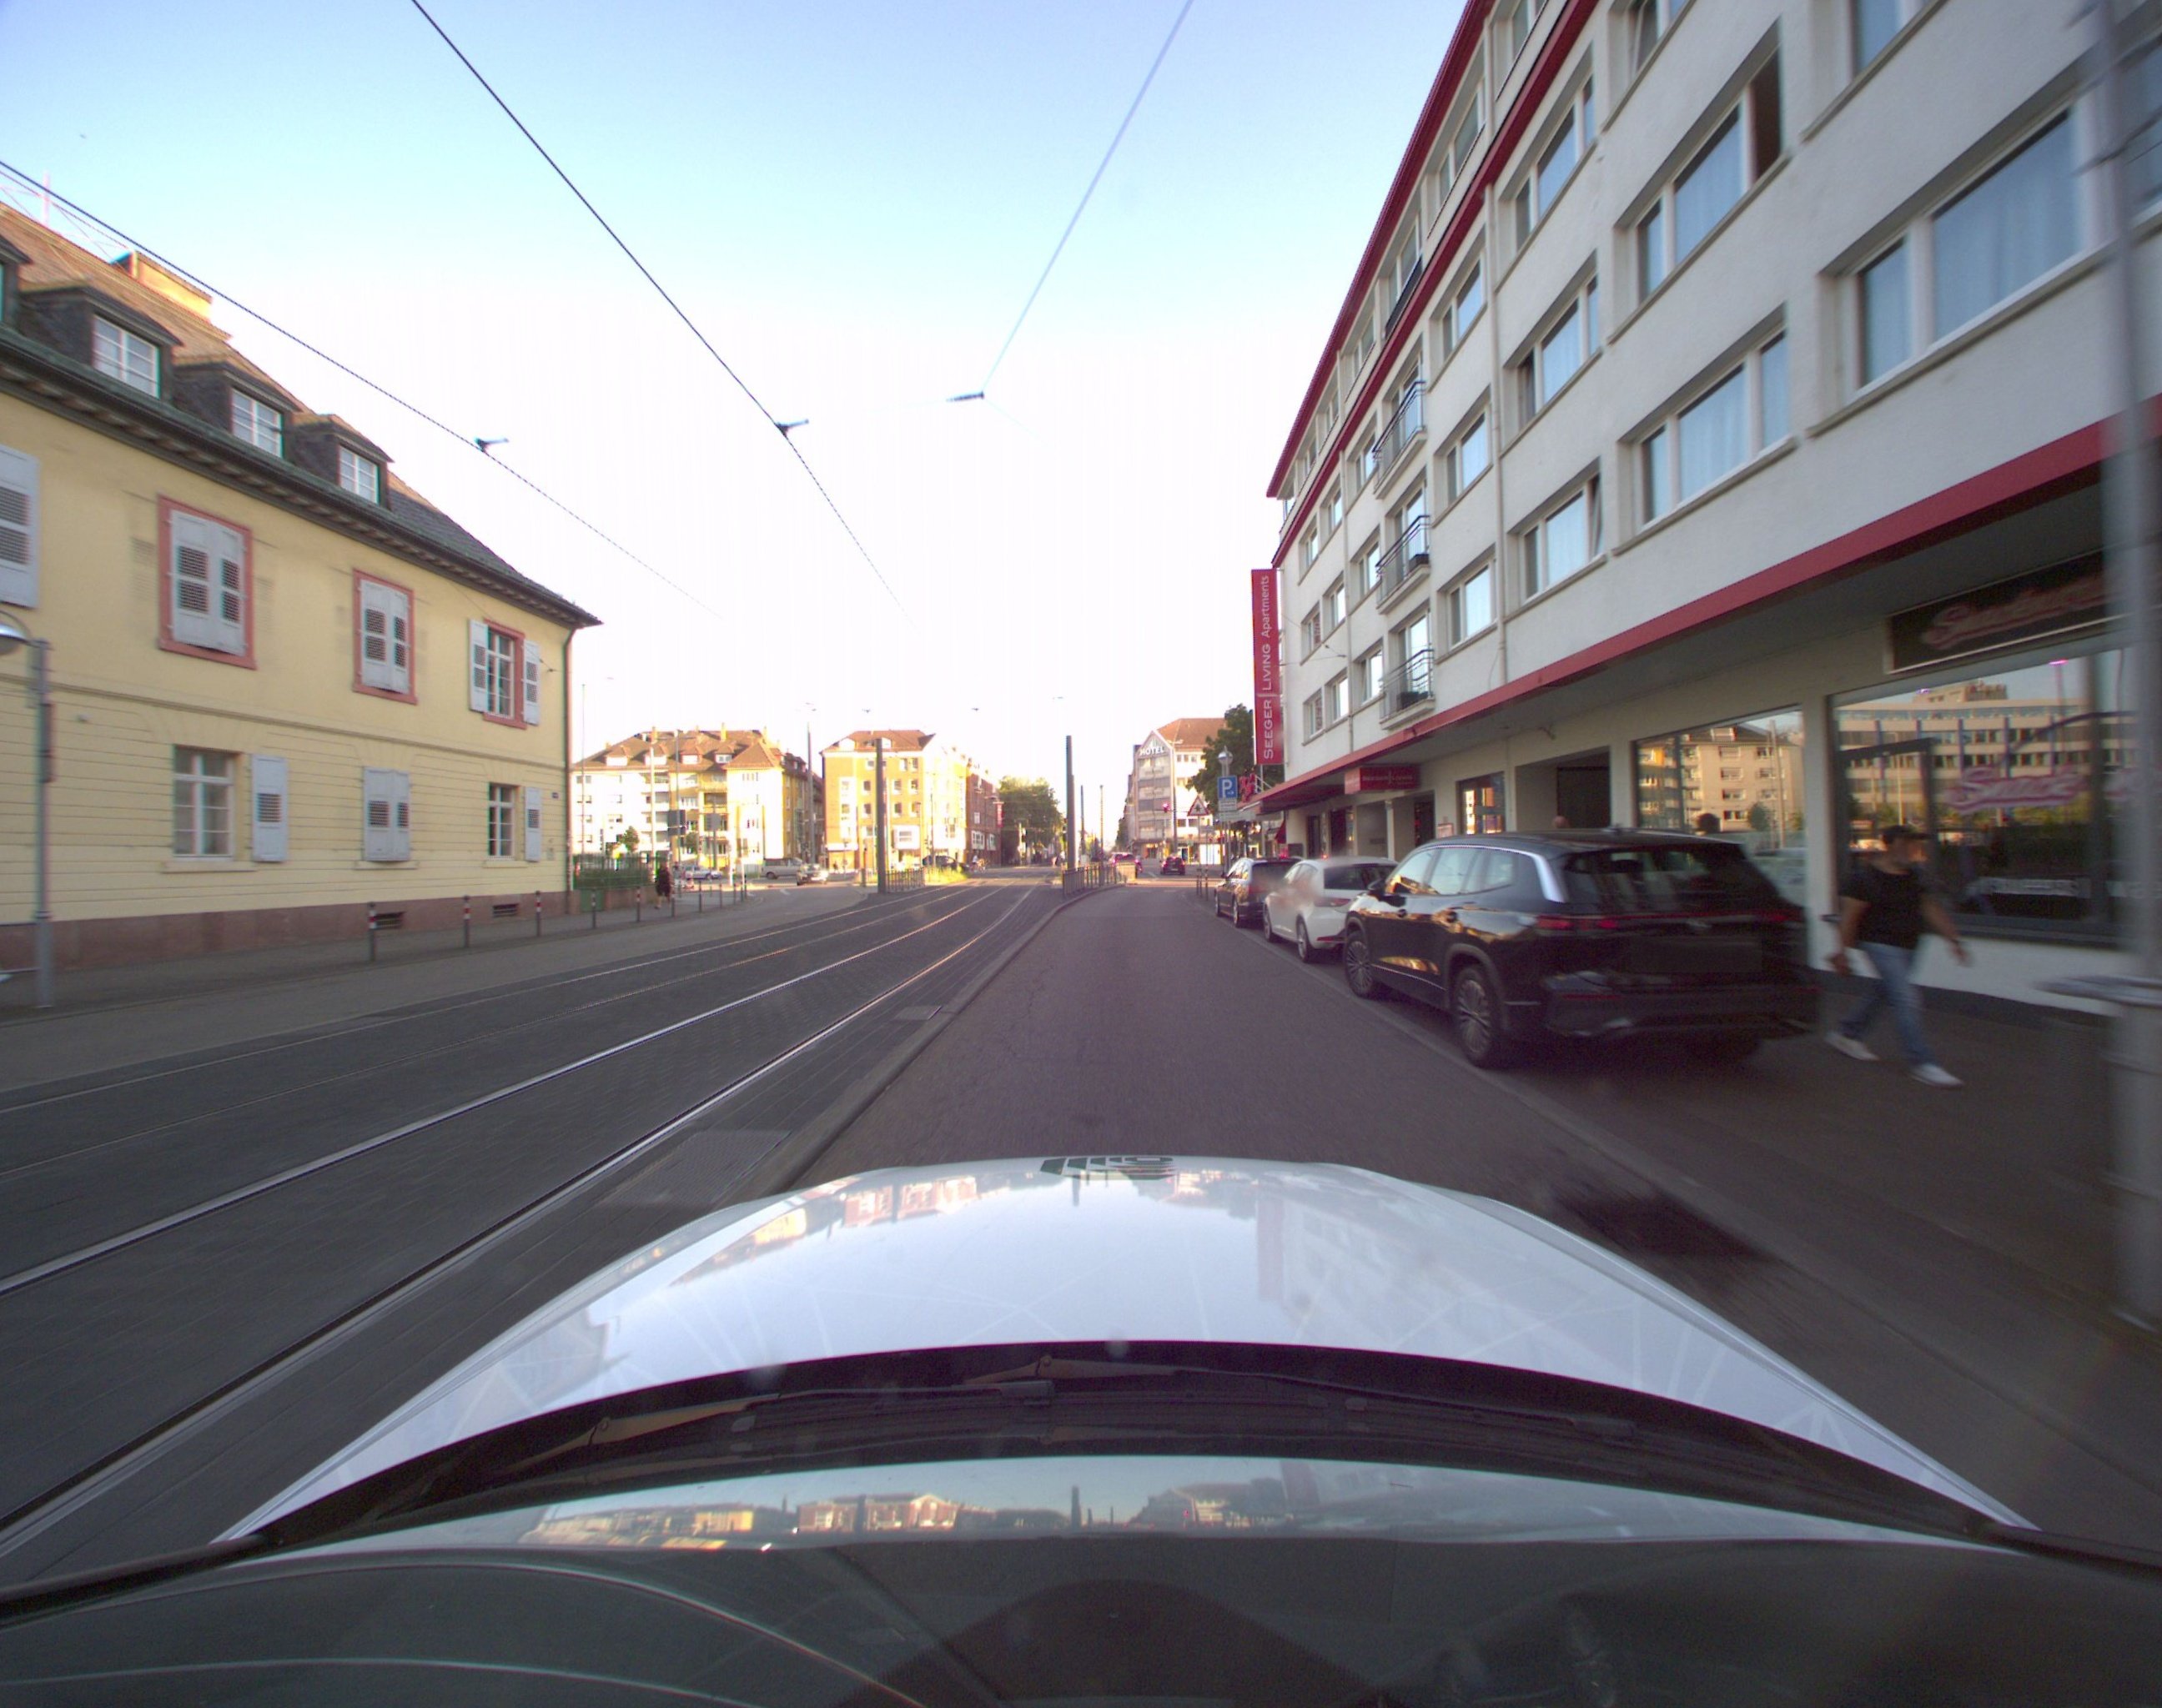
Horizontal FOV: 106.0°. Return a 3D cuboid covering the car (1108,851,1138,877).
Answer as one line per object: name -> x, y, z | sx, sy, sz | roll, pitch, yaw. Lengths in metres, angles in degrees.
car -> 2.850, 0.704, 54.937 | 1.827, 1.636, 4.093 | -3, -2, 3

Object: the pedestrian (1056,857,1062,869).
pedestrian -> -3.328, 1.300, 122.521 | 0.802, 1.823, 0.704 | 0, -1, 3

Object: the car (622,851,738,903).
car -> -16.884, 0.942, 34.483 | 3.993, 2.013, 1.990 | -2, 0, -14

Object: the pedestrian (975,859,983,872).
pedestrian -> -15.746, 1.804, 125.961 | 1.090, 2.014, 0.908 | 0, -1, -1

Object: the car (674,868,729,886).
car -> -36.619, 2.212, 78.636 | 4.332, 1.551, 1.996 | -1, -1, -6

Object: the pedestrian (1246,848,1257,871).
pedestrian -> 13.536, 0.451, 64.773 | 0.743, 1.778, 0.974 | 0, -1, 3

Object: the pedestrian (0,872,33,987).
pedestrian -> -14.904, 1.015, 10.811 | 0.796, 1.542, 0.878 | 0, -1, 4

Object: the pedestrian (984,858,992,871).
pedestrian -> -14.903, 1.730, 130.518 | 1.090, 2.014, 1.163 | 0, -1, 0

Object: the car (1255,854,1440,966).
car -> 3.874, 0.738, 12.572 | 1.645, 1.421, 4.193 | 0, -1, 2

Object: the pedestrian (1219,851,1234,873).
pedestrian -> 11.284, 0.612, 63.343 | 0.824, 1.685, 1.044 | 1, -1, -13

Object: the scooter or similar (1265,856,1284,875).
scooter or similar -> 12.484, 0.731, 52.589 | 0.296, 1.218, 1.206 | 1, -3, -42

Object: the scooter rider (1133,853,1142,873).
scooter rider -> 4.699, 0.741, 67.230 | 0.658, 1.647, 0.663 | 0, -1, 10

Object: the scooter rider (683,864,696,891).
scooter rider -> -23.887, 1.437, 49.690 | 0.586, 1.593, 0.653 | 1, -1, -19

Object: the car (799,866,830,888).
car -> -18.008, 1.507, 54.957 | 1.773, 1.376, 4.192 | -1, 0, -21

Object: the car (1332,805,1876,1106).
car -> 3.652, 0.596, 6.845 | 1.849, 1.701, 4.419 | 0, -1, 2

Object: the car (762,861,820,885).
car -> -26.855, 1.733, 75.635 | 4.681, 2.013, 1.994 | -2, 0, -9

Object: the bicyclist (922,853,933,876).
bicyclist -> -13.822, 0.961, 73.336 | 0.862, 2.014, 0.643 | 1, -1, -18

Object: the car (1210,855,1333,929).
car -> 4.054, 0.754, 18.085 | 1.783, 1.413, 4.689 | 0, -1, 2

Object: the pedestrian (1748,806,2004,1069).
pedestrian -> 5.203, 0.505, 5.409 | 0.730, 1.574, 0.967 | -1, 0, 1

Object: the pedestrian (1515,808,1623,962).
pedestrian -> 6.290, 0.386, 10.545 | 0.772, 1.880, 0.934 | -2, -1, 0

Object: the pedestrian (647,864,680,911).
pedestrian -> -13.912, 1.098, 27.150 | 0.717, 1.536, 0.718 | -2, -1, -3

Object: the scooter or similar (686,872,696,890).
scooter or similar -> -23.587, 1.636, 49.296 | 0.427, 1.063, 1.611 | 1, -1, -22

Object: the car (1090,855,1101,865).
car -> 2.604, 1.098, 142.923 | 1.804, 1.746, 3.718 | 0, -1, 3

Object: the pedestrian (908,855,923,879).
pedestrian -> -9.656, 0.763, 47.530 | 0.662, 1.375, 0.651 | -2, 0, -1

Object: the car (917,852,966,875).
car -> -13.409, 0.914, 78.354 | 4.561, 2.037, 1.993 | -2, 0, -11

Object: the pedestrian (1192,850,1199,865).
pedestrian -> 13.274, 0.413, 94.246 | 0.743, 1.778, 0.801 | 0, -1, 4

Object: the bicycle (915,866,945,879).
bicycle -> -13.631, 1.654, 73.387 | 2.647, 1.099, 0.433 | 1, -1, -18

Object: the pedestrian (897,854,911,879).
pedestrian -> -10.267, 0.721, 47.300 | 0.662, 1.375, 0.651 | -1, 0, -1

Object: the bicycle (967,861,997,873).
bicycle -> -9.089, 1.209, 74.644 | 2.647, 1.099, 0.433 | 1, -1, -18

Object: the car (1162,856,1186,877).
car -> 7.138, 0.917, 62.133 | 1.755, 1.440, 4.008 | -2, 0, 7

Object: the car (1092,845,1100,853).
car -> 3.885, -1.209, 209.380 | 1.985, 1.901, 4.003 | 0, -1, 3

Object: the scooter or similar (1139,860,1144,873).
scooter or similar -> 5.010, 1.040, 67.278 | 0.278, 1.091, 1.260 | 0, -1, 9

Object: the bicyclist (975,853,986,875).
bicyclist -> -9.178, 0.877, 74.594 | 0.863, 2.014, 0.642 | 1, -1, -19

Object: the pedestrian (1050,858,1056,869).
pedestrian -> -4.202, 1.362, 121.820 | 0.802, 1.664, 0.704 | 0, -1, 4

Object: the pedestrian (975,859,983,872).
pedestrian -> -15.913, 1.808, 127.413 | 1.090, 2.014, 0.908 | 0, -1, -1
